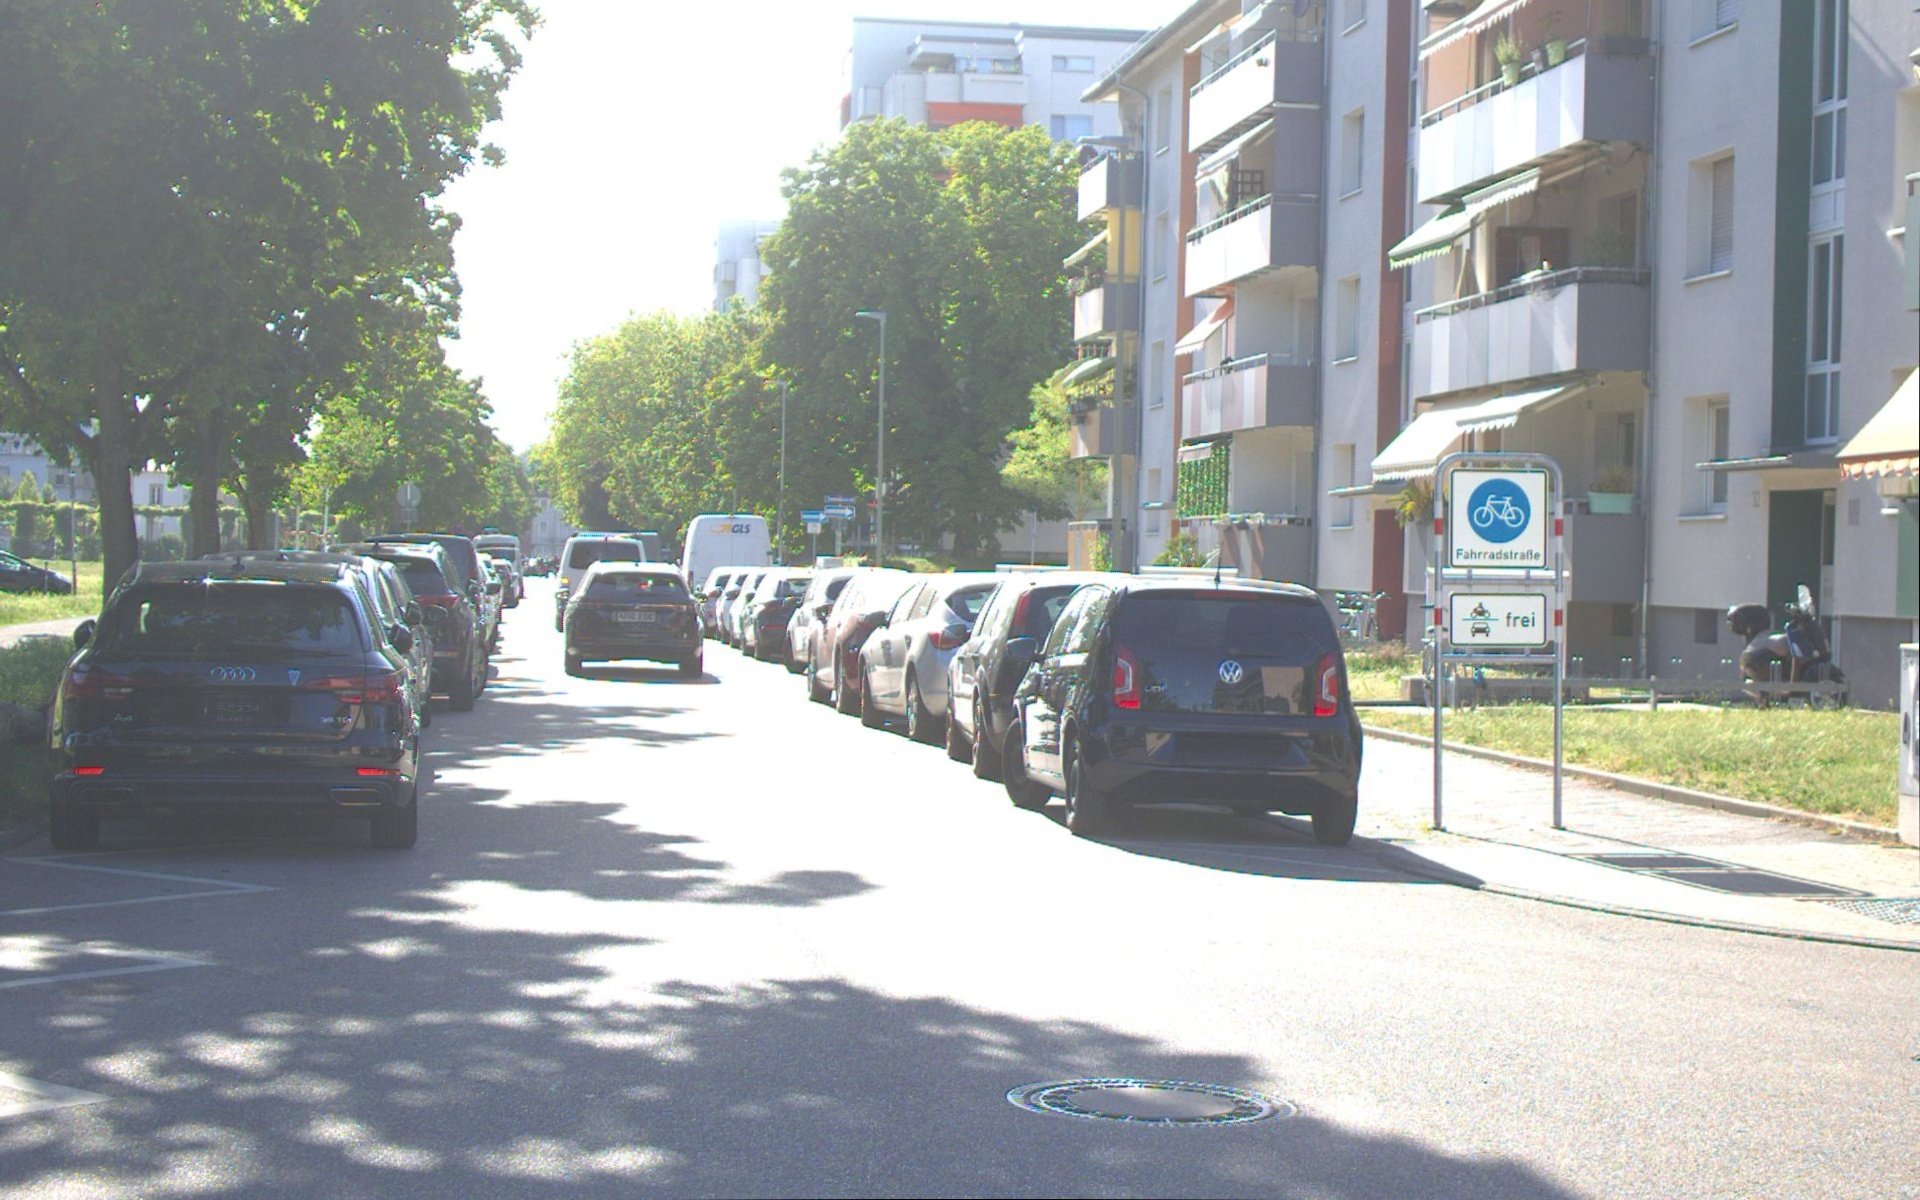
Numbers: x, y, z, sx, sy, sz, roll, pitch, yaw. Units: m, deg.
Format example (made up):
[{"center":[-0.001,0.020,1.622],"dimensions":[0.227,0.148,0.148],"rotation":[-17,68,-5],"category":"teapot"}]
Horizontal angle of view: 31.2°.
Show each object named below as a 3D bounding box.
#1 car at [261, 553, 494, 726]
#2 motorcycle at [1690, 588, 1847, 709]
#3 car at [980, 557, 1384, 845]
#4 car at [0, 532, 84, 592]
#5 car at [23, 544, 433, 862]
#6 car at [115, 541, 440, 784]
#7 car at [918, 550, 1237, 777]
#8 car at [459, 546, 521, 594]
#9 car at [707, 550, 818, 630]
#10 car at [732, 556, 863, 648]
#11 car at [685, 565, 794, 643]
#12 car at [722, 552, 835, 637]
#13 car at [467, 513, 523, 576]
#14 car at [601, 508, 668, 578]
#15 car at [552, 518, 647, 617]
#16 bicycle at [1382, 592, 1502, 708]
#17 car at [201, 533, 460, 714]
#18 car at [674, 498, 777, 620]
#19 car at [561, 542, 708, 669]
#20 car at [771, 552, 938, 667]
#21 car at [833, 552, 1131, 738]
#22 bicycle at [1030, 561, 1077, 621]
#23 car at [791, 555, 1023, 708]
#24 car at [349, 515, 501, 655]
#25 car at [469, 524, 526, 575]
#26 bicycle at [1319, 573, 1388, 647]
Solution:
[{"center":[-5.825,0.343,34.859],"dimensions":[2.025,1.620,4.758],"rotation":[0,1,-6],"category":"car"},{"center":[8.100,0.476,34.534],"dimensions":[0.582,1.147,2.038],"rotation":[1,0,-16],"category":"motorcycle"},{"center":[1.223,0.530,20.567],"dimensions":[1.658,1.469,3.794],"rotation":[3,1,-7],"category":"car"},{"center":[-24.707,-1.007,87.387],"dimensions":[4.333,1.404,1.921],"rotation":[1,3,-31],"category":"car"},{"center":[-3.785,0.449,18.409],"dimensions":[1.835,1.447,4.970],"rotation":[1,1,-9],"category":"car"},{"center":[-4.708,0.347,24.111],"dimensions":[1.993,1.511,5.160],"rotation":[0,1,-10],"category":"car"},{"center":[0.788,0.407,26.028],"dimensions":[1.769,1.524,4.558],"rotation":[2,1,-6],"category":"car"},{"center":[-14.320,-0.918,104.822],"dimensions":[1.748,1.420,3.917],"rotation":[-1,0,-6],"category":"car"},{"center":[-3.875,-0.217,67.036],"dimensions":[1.877,1.470,4.141],"rotation":[1,1,-7],"category":"car"},{"center":[-2.703,0.001,56.291],"dimensions":[1.699,1.430,4.473],"rotation":[0,1,-9],"category":"car"},{"center":[-4.623,0.060,71.672],"dimensions":[1.848,1.461,4.203],"rotation":[2,1,-9],"category":"car"},{"center":[-3.284,-0.123,61.691],"dimensions":[1.721,1.430,4.153],"rotation":[1,1,-7],"category":"car"},{"center":[-19.137,-2.293,141.634],"dimensions":[2.098,2.488,4.127],"rotation":[2,1,-6],"category":"car"},{"center":[-12.933,-2.272,136.422],"dimensions":[2.162,2.680,5.418],"rotation":[1,1,-10],"category":"car"},{"center":[-7.423,-0.677,70.888],"dimensions":[1.894,1.984,4.011],"rotation":[0,1,-6],"category":"car"},{"center":[4.751,0.478,33.994],"dimensions":[0.719,1.074,1.897],"rotation":[2,1,-6],"category":"bicycle"},{"center":[-5.263,0.191,29.146],"dimensions":[1.880,1.414,3.804],"rotation":[1,0,-6],"category":"car"},{"center":[-5.477,-0.969,79.585],"dimensions":[2.142,2.703,6.843],"rotation":[0,1,-6],"category":"car"},{"center":[-4.316,0.039,45.454],"dimensions":[1.779,1.526,4.001],"rotation":[3,1,-6],"category":"car"},{"center":[-1.513,0.102,47.789],"dimensions":[1.747,1.494,3.862],"rotation":[1,1,-10],"category":"car"},{"center":[0.113,0.361,31.548],"dimensions":[1.873,1.528,4.495],"rotation":[1,1,-11],"category":"car"},{"center":[1.883,-0.165,69.374],"dimensions":[0.595,1.172,2.014],"rotation":[2,-1,-8],"category":"bicycle"},{"center":[-0.648,0.289,36.883],"dimensions":[1.843,1.467,5.066],"rotation":[2,1,-8],"category":"car"},{"center":[-7.271,-0.201,47.119],"dimensions":[1.864,1.778,4.992],"rotation":[1,0,-7],"category":"car"},{"center":[-18.182,-1.997,135.292],"dimensions":[2.098,1.936,4.127],"rotation":[2,1,-7],"category":"car"},{"center":[5.954,0.141,52.093],"dimensions":[0.523,1.067,2.010],"rotation":[-1,1,-8],"category":"bicycle"}]
